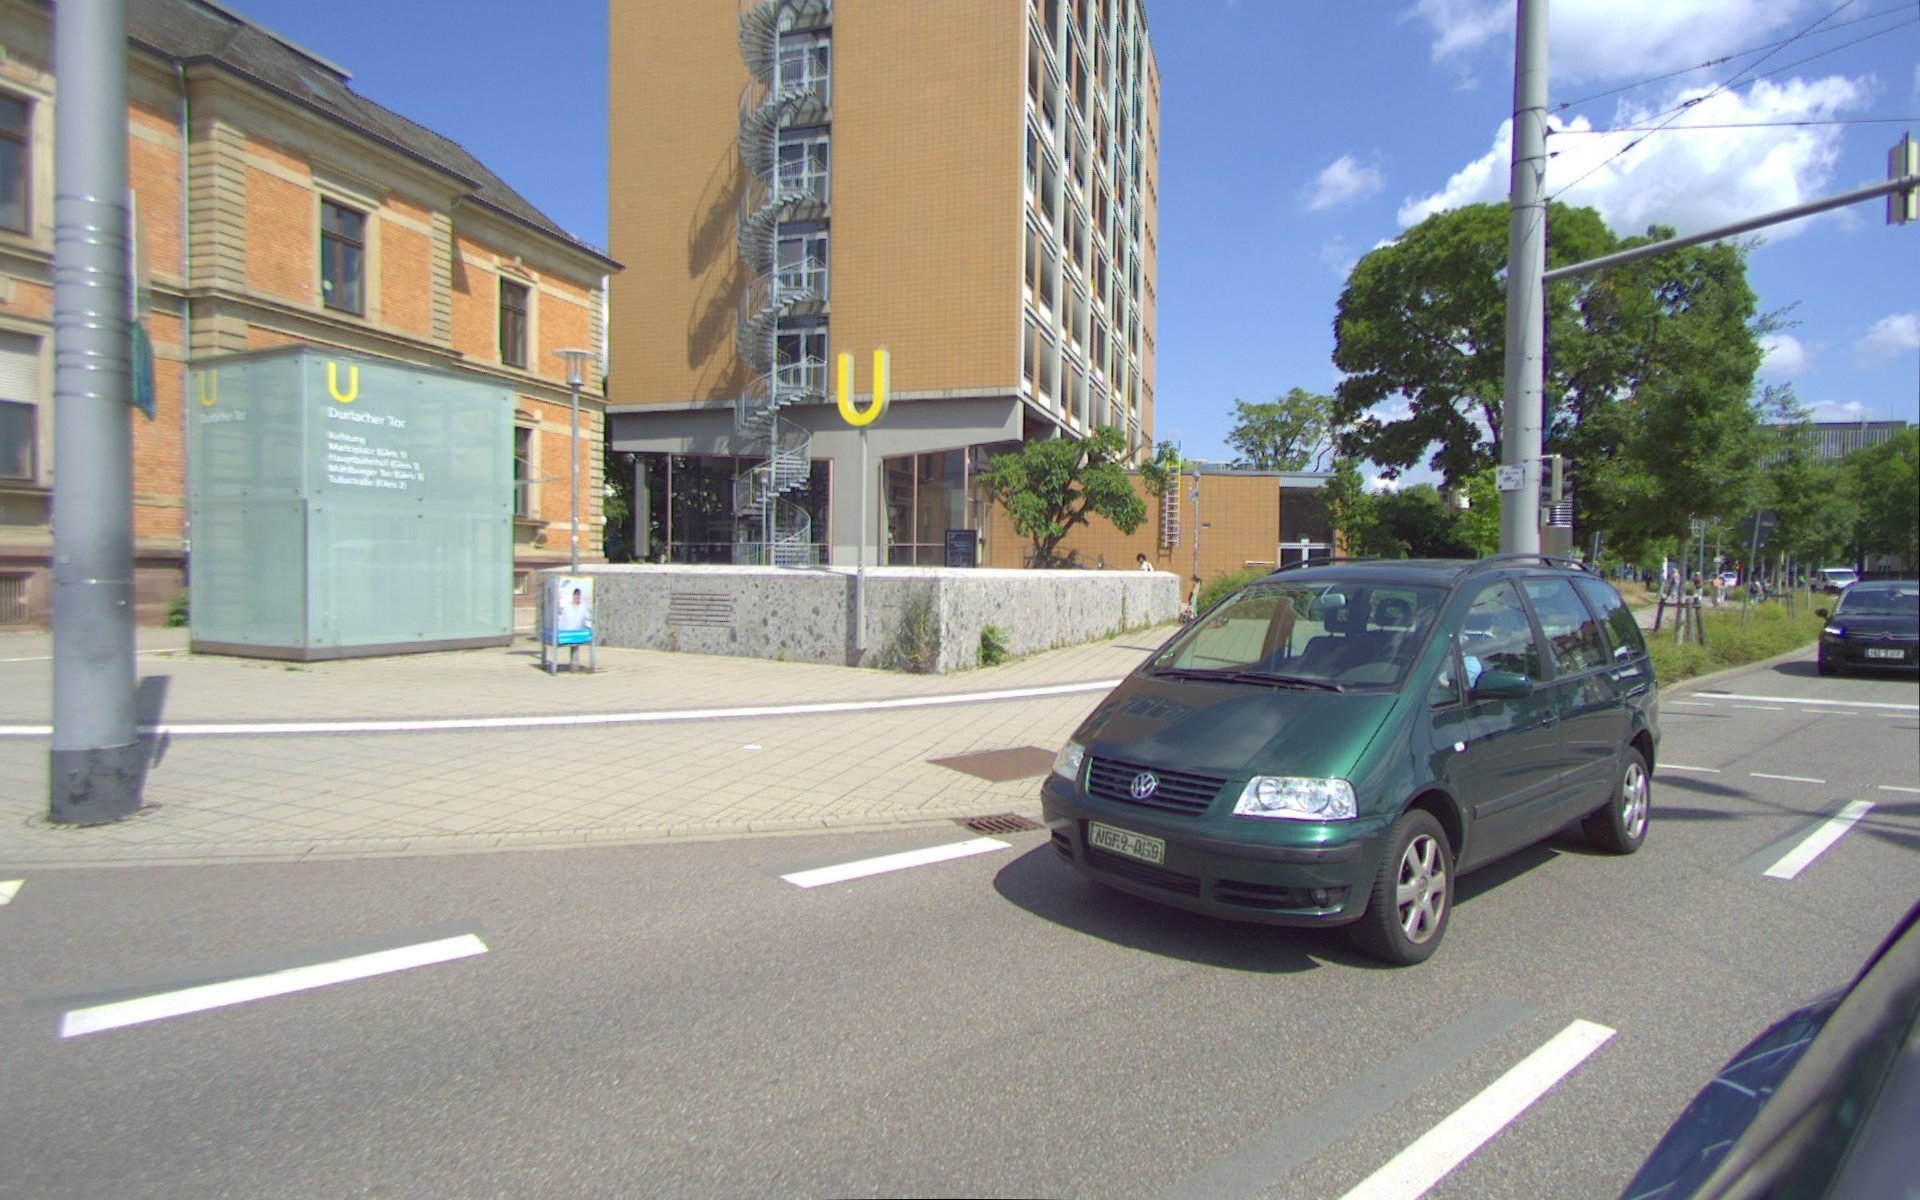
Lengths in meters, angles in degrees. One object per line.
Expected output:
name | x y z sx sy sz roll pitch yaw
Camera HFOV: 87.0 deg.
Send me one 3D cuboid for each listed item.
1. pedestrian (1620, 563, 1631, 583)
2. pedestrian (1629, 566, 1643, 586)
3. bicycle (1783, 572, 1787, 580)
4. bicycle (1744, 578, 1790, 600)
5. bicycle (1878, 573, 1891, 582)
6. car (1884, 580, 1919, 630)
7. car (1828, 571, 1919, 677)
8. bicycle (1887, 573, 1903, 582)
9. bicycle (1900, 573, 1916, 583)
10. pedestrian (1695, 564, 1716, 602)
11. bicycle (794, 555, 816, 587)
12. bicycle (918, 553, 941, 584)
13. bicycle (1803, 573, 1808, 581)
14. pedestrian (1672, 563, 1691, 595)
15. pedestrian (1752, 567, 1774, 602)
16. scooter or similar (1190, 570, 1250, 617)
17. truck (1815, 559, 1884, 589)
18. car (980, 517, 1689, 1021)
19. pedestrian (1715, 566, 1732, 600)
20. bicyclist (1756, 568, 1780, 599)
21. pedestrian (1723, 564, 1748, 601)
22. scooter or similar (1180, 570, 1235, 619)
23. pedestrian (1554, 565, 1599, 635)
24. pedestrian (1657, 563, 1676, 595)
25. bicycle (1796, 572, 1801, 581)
pedestrian | 62.102 -2.533 94.443 0.659 1.768 0.606 2 2 17
pedestrian | 62.917 -2.221 94.219 0.742 1.799 0.877 2 2 16
bicycle | 112.708 -3.260 138.199 0.328 1.030 1.644 2 2 43
bicycle | 43.704 -0.599 54.807 1.800 1.062 0.586 4 4 30
bicycle | 108.899 -2.697 119.190 0.371 1.056 1.414 1 2 8
car | 30.214 0.121 31.717 1.760 1.435 4.298 -1 1 42
car | 16.634 0.333 17.816 1.857 1.643 4.451 -1 1 43
bicycle | 108.684 -2.634 117.601 0.391 1.056 1.758 1 2 8
bicycle | 108.456 -2.538 115.779 0.391 1.056 1.581 1 2 8
pedestrian | 36.464 -0.851 49.528 0.752 1.843 0.631 0 2 31
bicycle | -5.504 -1.050 36.029 0.367 1.047 1.956 -1 3 3
bicycle | -1.083 -1.129 36.003 0.368 1.047 1.877 -1 3 12
bicycle | 111.504 -3.021 133.422 0.381 1.121 1.644 2 2 43
pedestrian | 41.630 -1.201 58.381 0.746 1.824 0.603 3 2 29
pedestrian | 38.104 -0.746 48.011 0.762 1.645 0.651 -2 5 -44
scooter or similar | 6.494 -0.159 25.264 1.423 1.137 0.231 2 1 -6
truck | 72.215 -2.092 82.312 2.435 2.329 5.772 -1 1 23
car | 2.334 0.560 5.613 4.370 1.744 1.798 0 1 -41
pedestrian | 37.094 -0.820 49.151 0.584 1.646 0.720 0 2 31
bicyclist | 43.720 -0.893 54.786 0.823 1.620 0.574 4 4 29
pedestrian | 40.000 -0.917 52.216 0.750 1.842 0.774 5 4 24
scooter or similar | 5.995 -0.125 24.498 1.257 1.137 0.231 2 1 -6
pedestrian | 14.570 -0.006 23.914 0.749 1.609 0.756 -2 2 -44
pedestrian | 40.857 -1.220 58.552 0.746 1.774 0.603 3 2 29
bicycle | 111.916 -3.163 135.052 0.381 1.121 1.644 2 2 43
